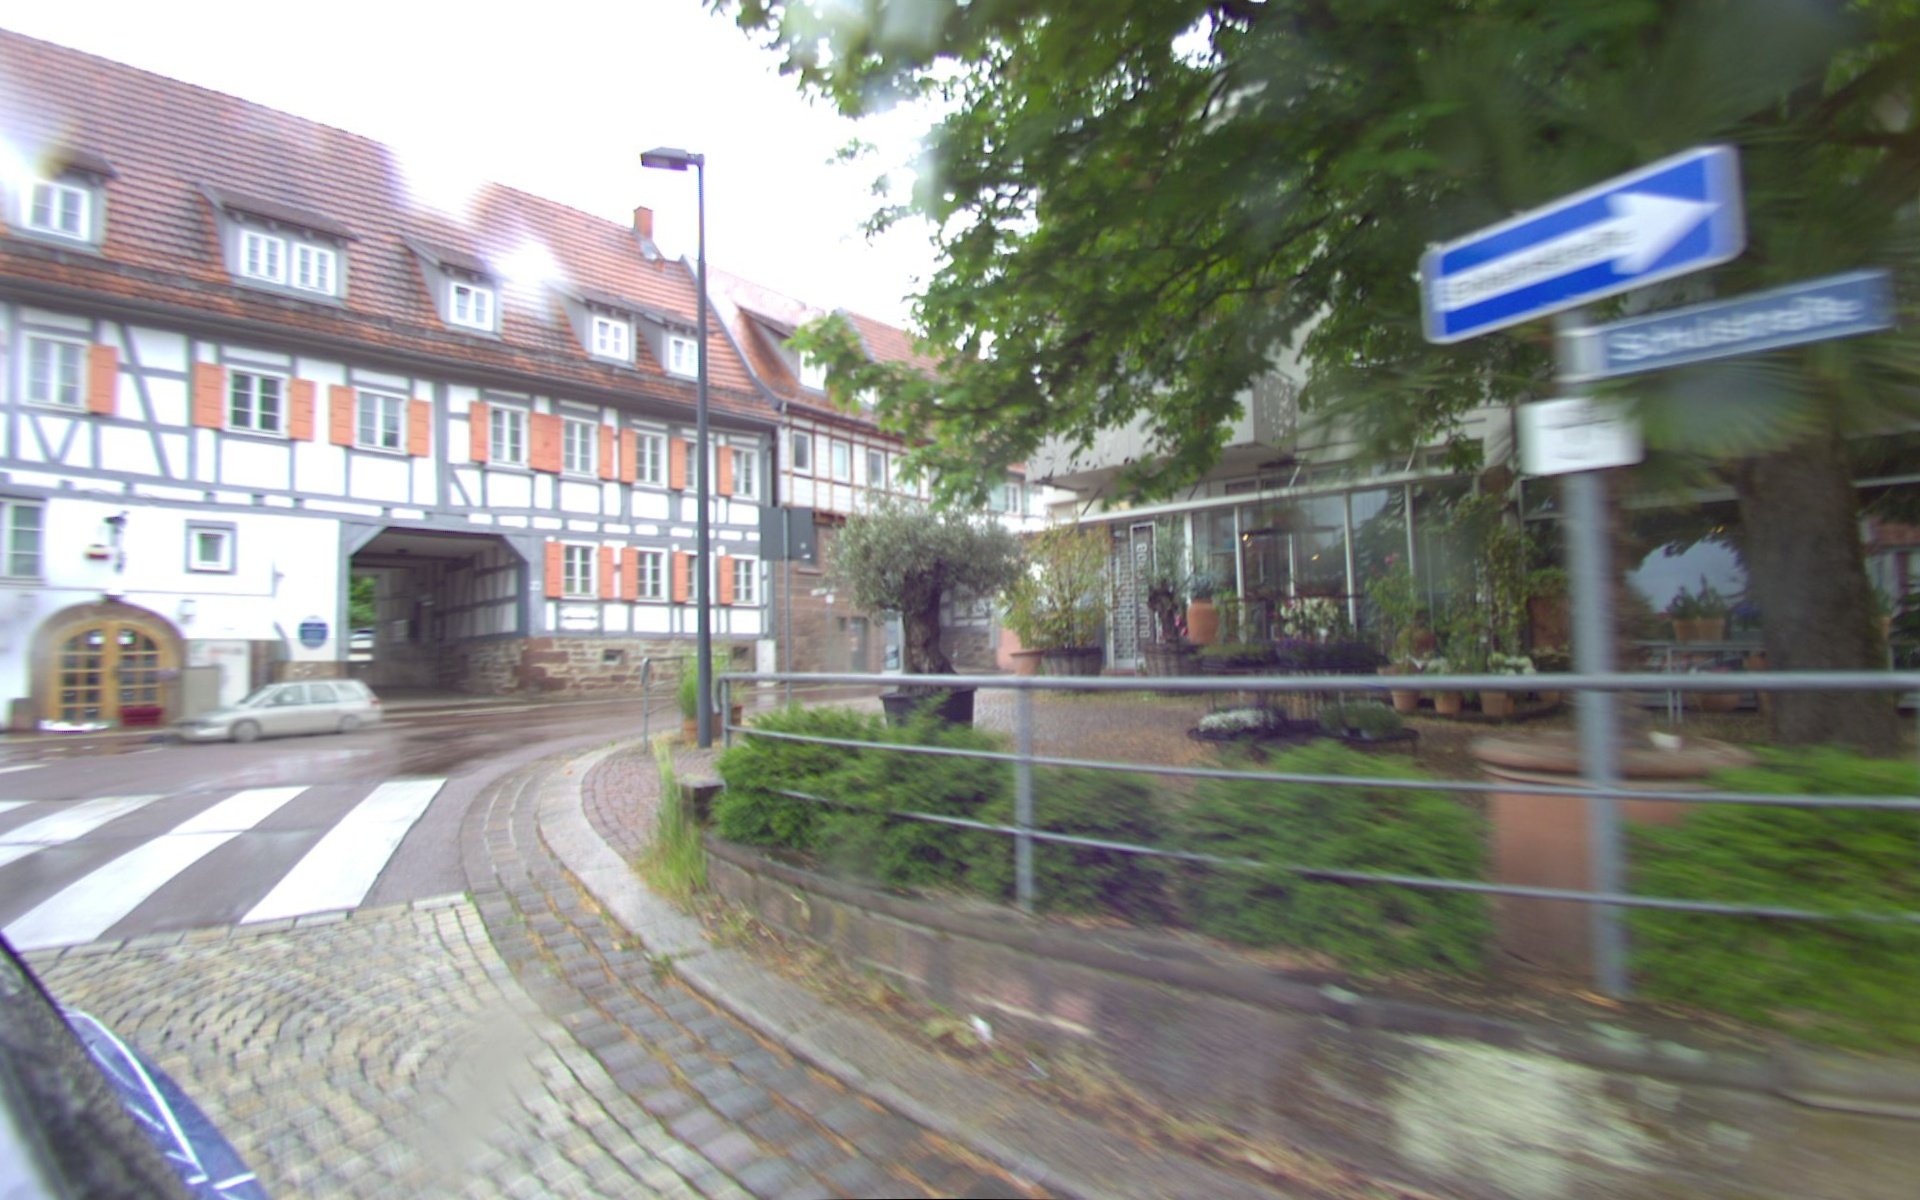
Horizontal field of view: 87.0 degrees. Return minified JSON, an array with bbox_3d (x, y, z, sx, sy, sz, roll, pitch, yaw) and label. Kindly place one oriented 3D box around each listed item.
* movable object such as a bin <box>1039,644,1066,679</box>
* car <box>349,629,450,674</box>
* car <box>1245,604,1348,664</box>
[{"bbox_3d":[3.087,2.061,33.792,0.611,1.136,0.591,-6,-4,40],"label":"movable object such as a bin"},{"bbox_3d":[-19.971,1.828,36.099,2.940,1.462,1.414,0,-4,-41],"label":"car"},{"bbox_3d":[11.310,1.115,33.833,1.727,1.839,4.370,-5,-4,39],"label":"car"}]
